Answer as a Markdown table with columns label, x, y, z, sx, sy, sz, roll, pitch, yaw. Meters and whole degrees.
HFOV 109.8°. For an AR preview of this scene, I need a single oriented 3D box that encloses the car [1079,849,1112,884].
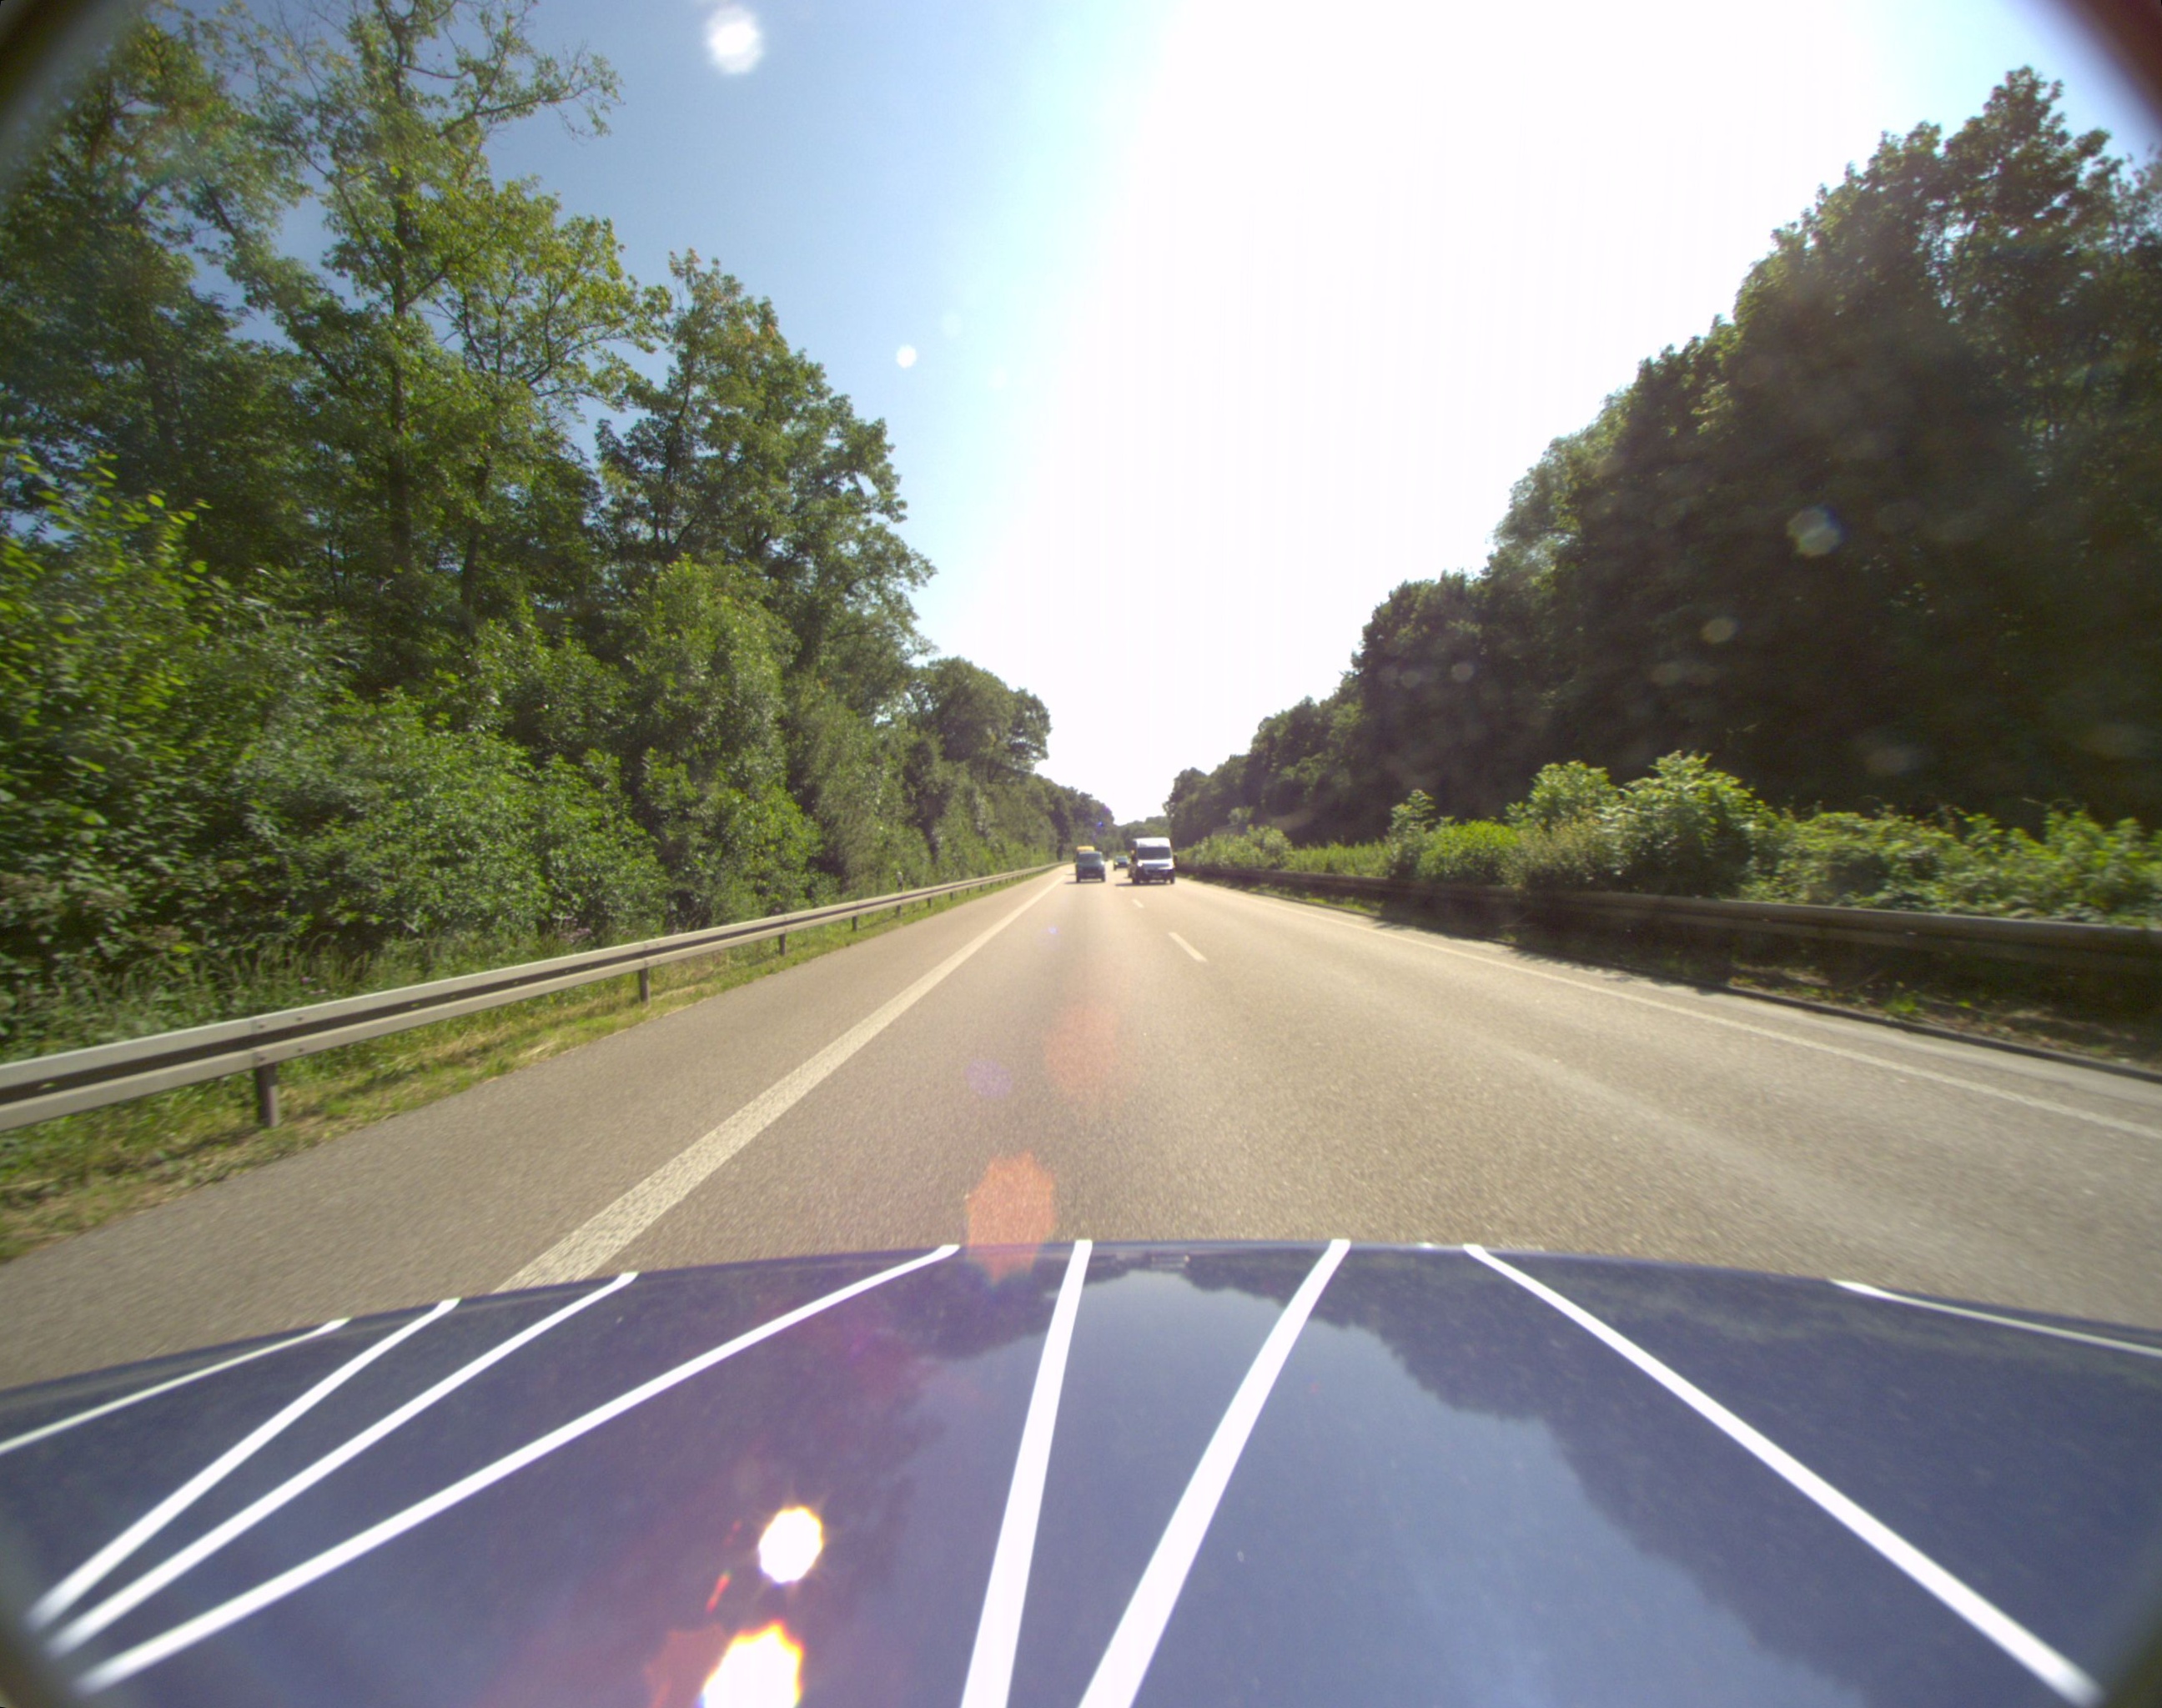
| label | x | y | z | sx | sy | sz | roll | pitch | yaw |
| --- | --- | --- | --- | --- | --- | --- | --- | --- | --- |
| car | 0.857 | 0.717 | 45.976 | 1.812 | 1.921 | 4.581 | -2 | 0 | 1 |

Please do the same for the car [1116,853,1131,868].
| label | x | y | z | sx | sy | sz | roll | pitch | yaw |
| --- | --- | --- | --- | --- | --- | --- | --- | --- | --- |
| car | 4.805 | 0.691 | 86.175 | 1.517 | 1.624 | 3.611 | -2 | 0 | 1 |

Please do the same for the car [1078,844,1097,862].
| label | x | y | z | sx | sy | sz | roll | pitch | yaw |
| --- | --- | --- | --- | --- | --- | --- | --- | --- | --- |
| car | 0.625 | -0.103 | 74.566 | 1.737 | 1.624 | 3.899 | -2 | 0 | 1 |

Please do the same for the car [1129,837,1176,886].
| label | x | y | z | sx | sy | sz | roll | pitch | yaw |
| --- | --- | --- | --- | --- | --- | --- | --- | --- | --- |
| car | 3.803 | 0.373 | 41.197 | 2.046 | 2.429 | 4.637 | -2 | 1 | 1 |

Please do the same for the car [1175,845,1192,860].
| label | x | y | z | sx | sy | sz | roll | pitch | yaw |
| --- | --- | --- | --- | --- | --- | --- | --- | --- | --- |
| car | 12.408 | -0.208 | 92.398 | 1.611 | 1.696 | 3.481 | -2 | 1 | 1 |

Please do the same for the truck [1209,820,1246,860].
| label | x | y | z | sx | sy | sz | roll | pitch | yaw |
| --- | --- | --- | --- | --- | --- | --- | --- | --- | --- |
| truck | 16.303 | -1.543 | 84.956 | 2.724 | 4.219 | 6.536 | -2 | 1 | 1 |

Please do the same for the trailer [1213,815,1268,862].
| label | x | y | z | sx | sy | sz | roll | pitch | yaw |
| --- | --- | --- | --- | --- | --- | --- | --- | --- | --- |
| trailer | 16.185 | -1.482 | 78.311 | 2.836 | 4.274 | 13.663 | -2 | 0 | 1 |
